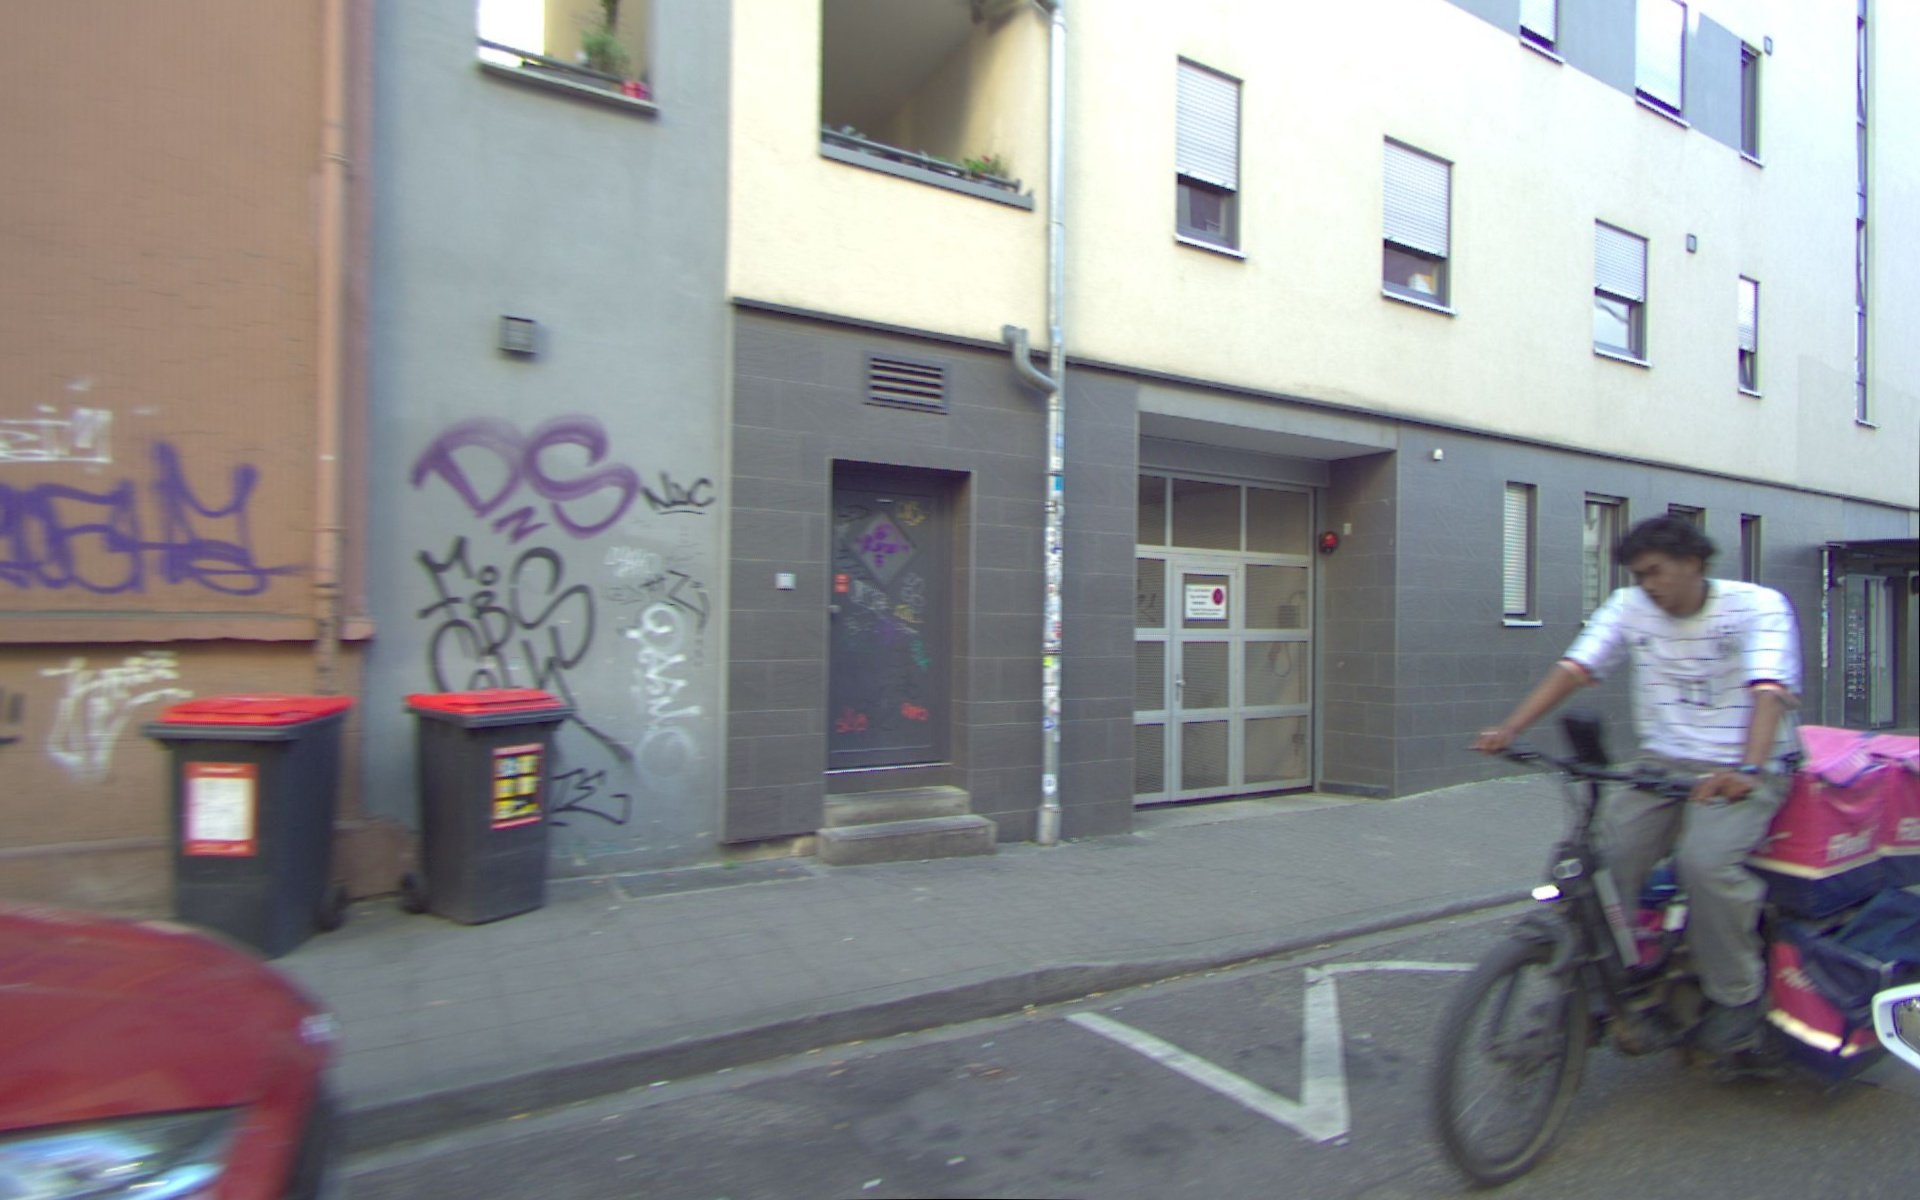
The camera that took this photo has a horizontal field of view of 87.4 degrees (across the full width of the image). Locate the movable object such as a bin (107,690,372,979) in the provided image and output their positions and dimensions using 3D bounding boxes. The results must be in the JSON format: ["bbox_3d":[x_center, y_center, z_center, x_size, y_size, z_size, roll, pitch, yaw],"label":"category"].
[{"bbox_3d":[-3.100,0.968,4.401,0.640,1.081,0.760,2,-1,-10],"label":"movable object such as a bin"}]

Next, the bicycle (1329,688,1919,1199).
[{"bbox_3d":[2.376,0.985,3.089,2.526,1.331,0.972,1,-3,-32],"label":"bicycle"}]

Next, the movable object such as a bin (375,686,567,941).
[{"bbox_3d":[-2.395,0.997,4.931,0.717,1.081,0.506,1,-1,29],"label":"movable object such as a bin"}]

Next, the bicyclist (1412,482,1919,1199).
[{"bbox_3d":[2.049,0.589,2.922,0.942,1.649,0.946,1,-3,-31],"label":"bicyclist"}]

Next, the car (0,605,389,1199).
[{"bbox_3d":[-2.876,0.782,1.128,3.823,1.541,1.743,2,-5,-30],"label":"car"}]

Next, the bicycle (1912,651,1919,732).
[{"bbox_3d":[14.788,1.342,14.855,1.752,1.179,0.488,1,-3,-29],"label":"bicycle"}]
